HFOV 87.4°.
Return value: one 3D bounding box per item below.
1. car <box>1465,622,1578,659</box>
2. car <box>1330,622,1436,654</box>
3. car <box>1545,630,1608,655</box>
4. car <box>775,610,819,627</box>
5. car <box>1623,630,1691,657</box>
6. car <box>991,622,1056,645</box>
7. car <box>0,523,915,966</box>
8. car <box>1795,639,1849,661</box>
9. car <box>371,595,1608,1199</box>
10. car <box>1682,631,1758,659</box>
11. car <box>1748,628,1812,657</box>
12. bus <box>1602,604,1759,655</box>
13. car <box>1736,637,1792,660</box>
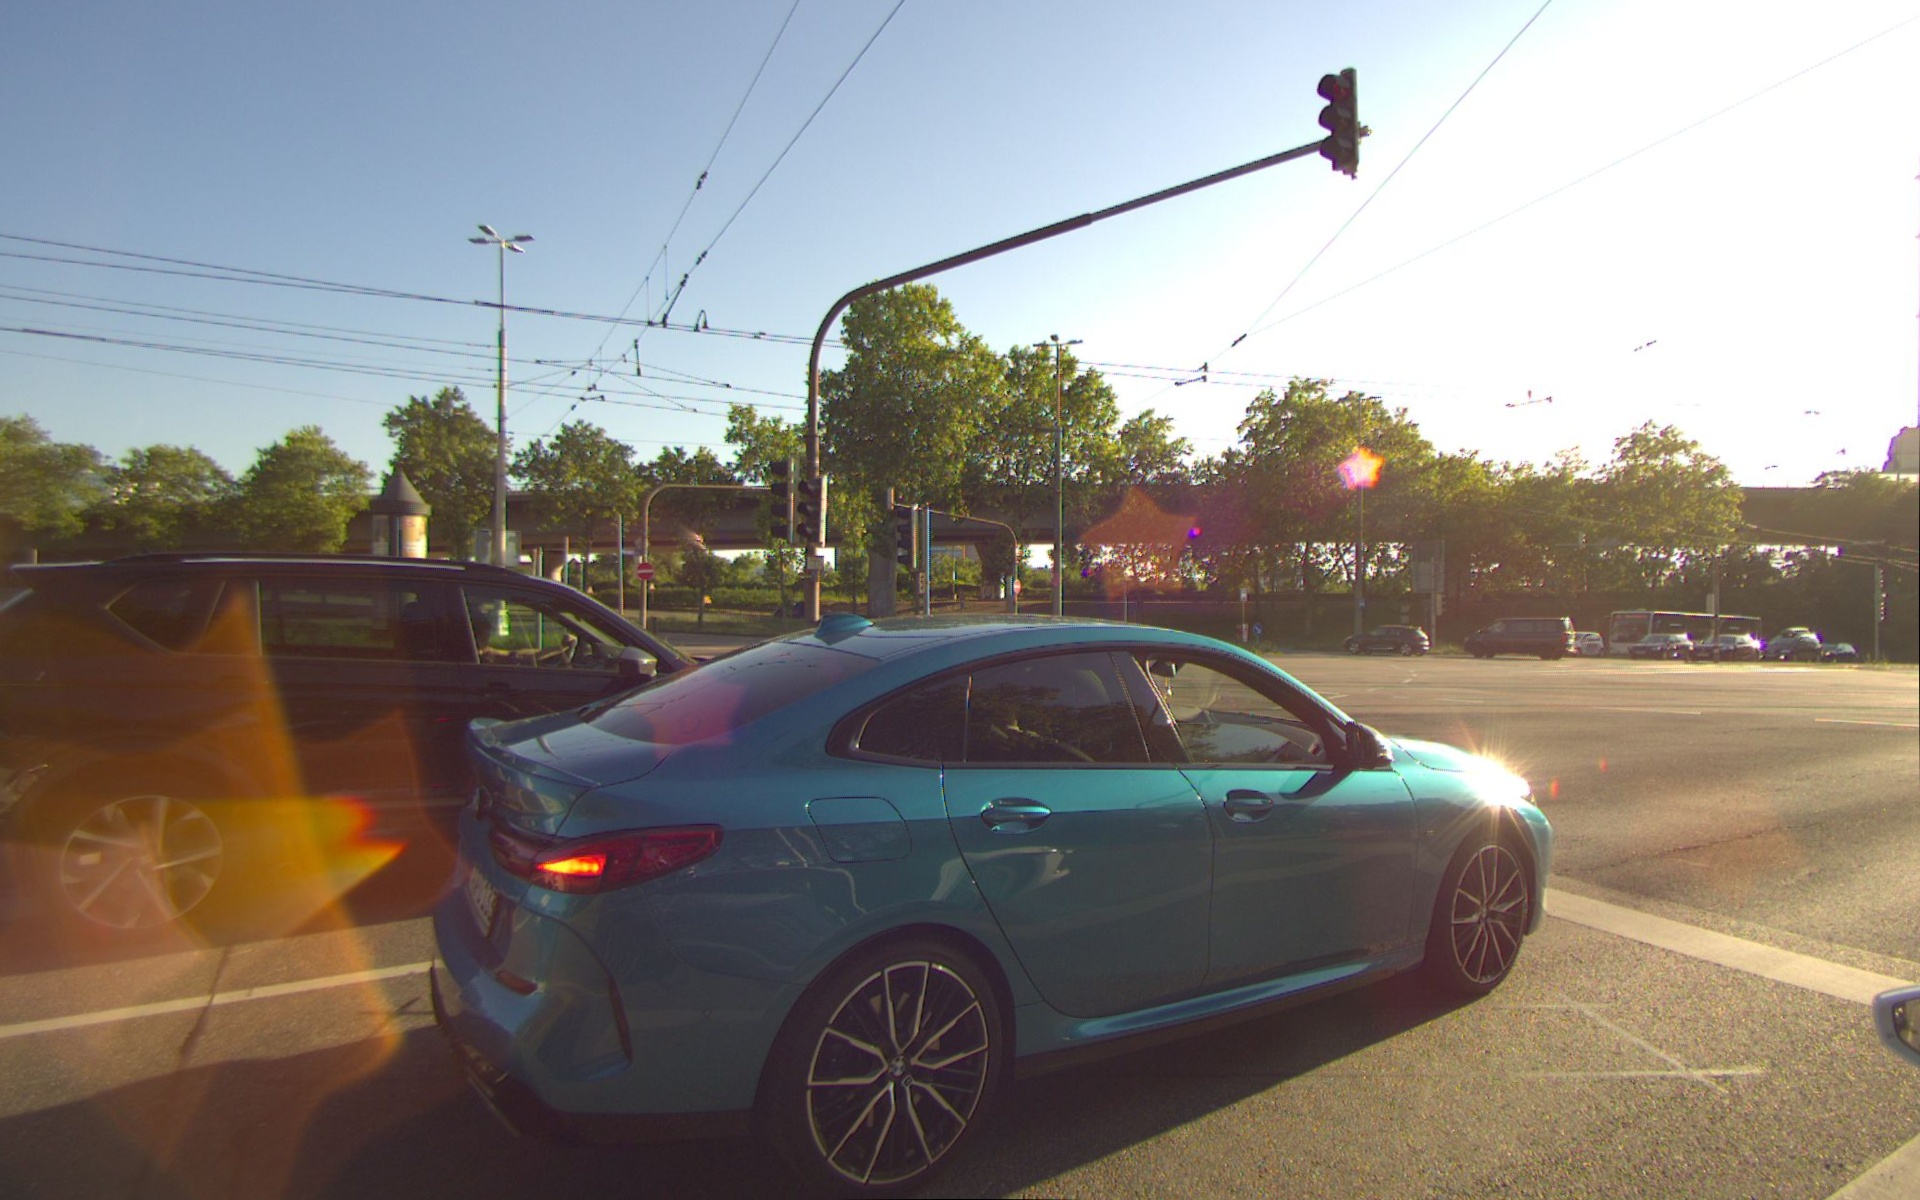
[{"bbox_3d":[27.191,1.926,48.730,4.472,1.644,1.988,0,-1,44],"label":"car"},{"bbox_3d":[20.969,1.862,49.932,1.982,1.473,4.485,2,-1,-38],"label":"car"},{"bbox_3d":[35.168,2.436,57.308,3.693,1.372,1.595,2,-1,-32],"label":"car"},{"bbox_3d":[-15.092,1.703,93.020,1.984,1.473,4.482,2,-1,-40],"label":"car"},{"bbox_3d":[37.914,2.359,54.628,3.956,1.372,1.595,2,-1,-32],"label":"car"},{"bbox_3d":[4.346,2.316,69.415,1.984,1.473,4.482,2,-1,-40],"label":"car"},{"bbox_3d":[-2.701,0.601,5.611,4.550,1.704,1.905,2,-1,-32],"label":"car"},{"bbox_3d":[60.880,3.496,70.931,3.952,1.461,1.692,2,-1,-30],"label":"car"},{"bbox_3d":[0.407,0.763,3.792,4.465,1.436,1.774,2,-1,-33],"label":"car"},{"bbox_3d":[39.652,2.341,52.380,4.046,1.372,1.703,2,-1,-30],"label":"car"},{"bbox_3d":[50.061,2.567,61.294,4.046,1.674,1.703,2,-1,-30],"label":"car"},{"bbox_3d":[45.453,1.894,63.170,12.693,2.993,2.811,2,-1,-28],"label":"bus"},{"bbox_3d":[54.685,3.298,68.312,3.952,1.461,1.692,2,-1,-30],"label":"car"}]
